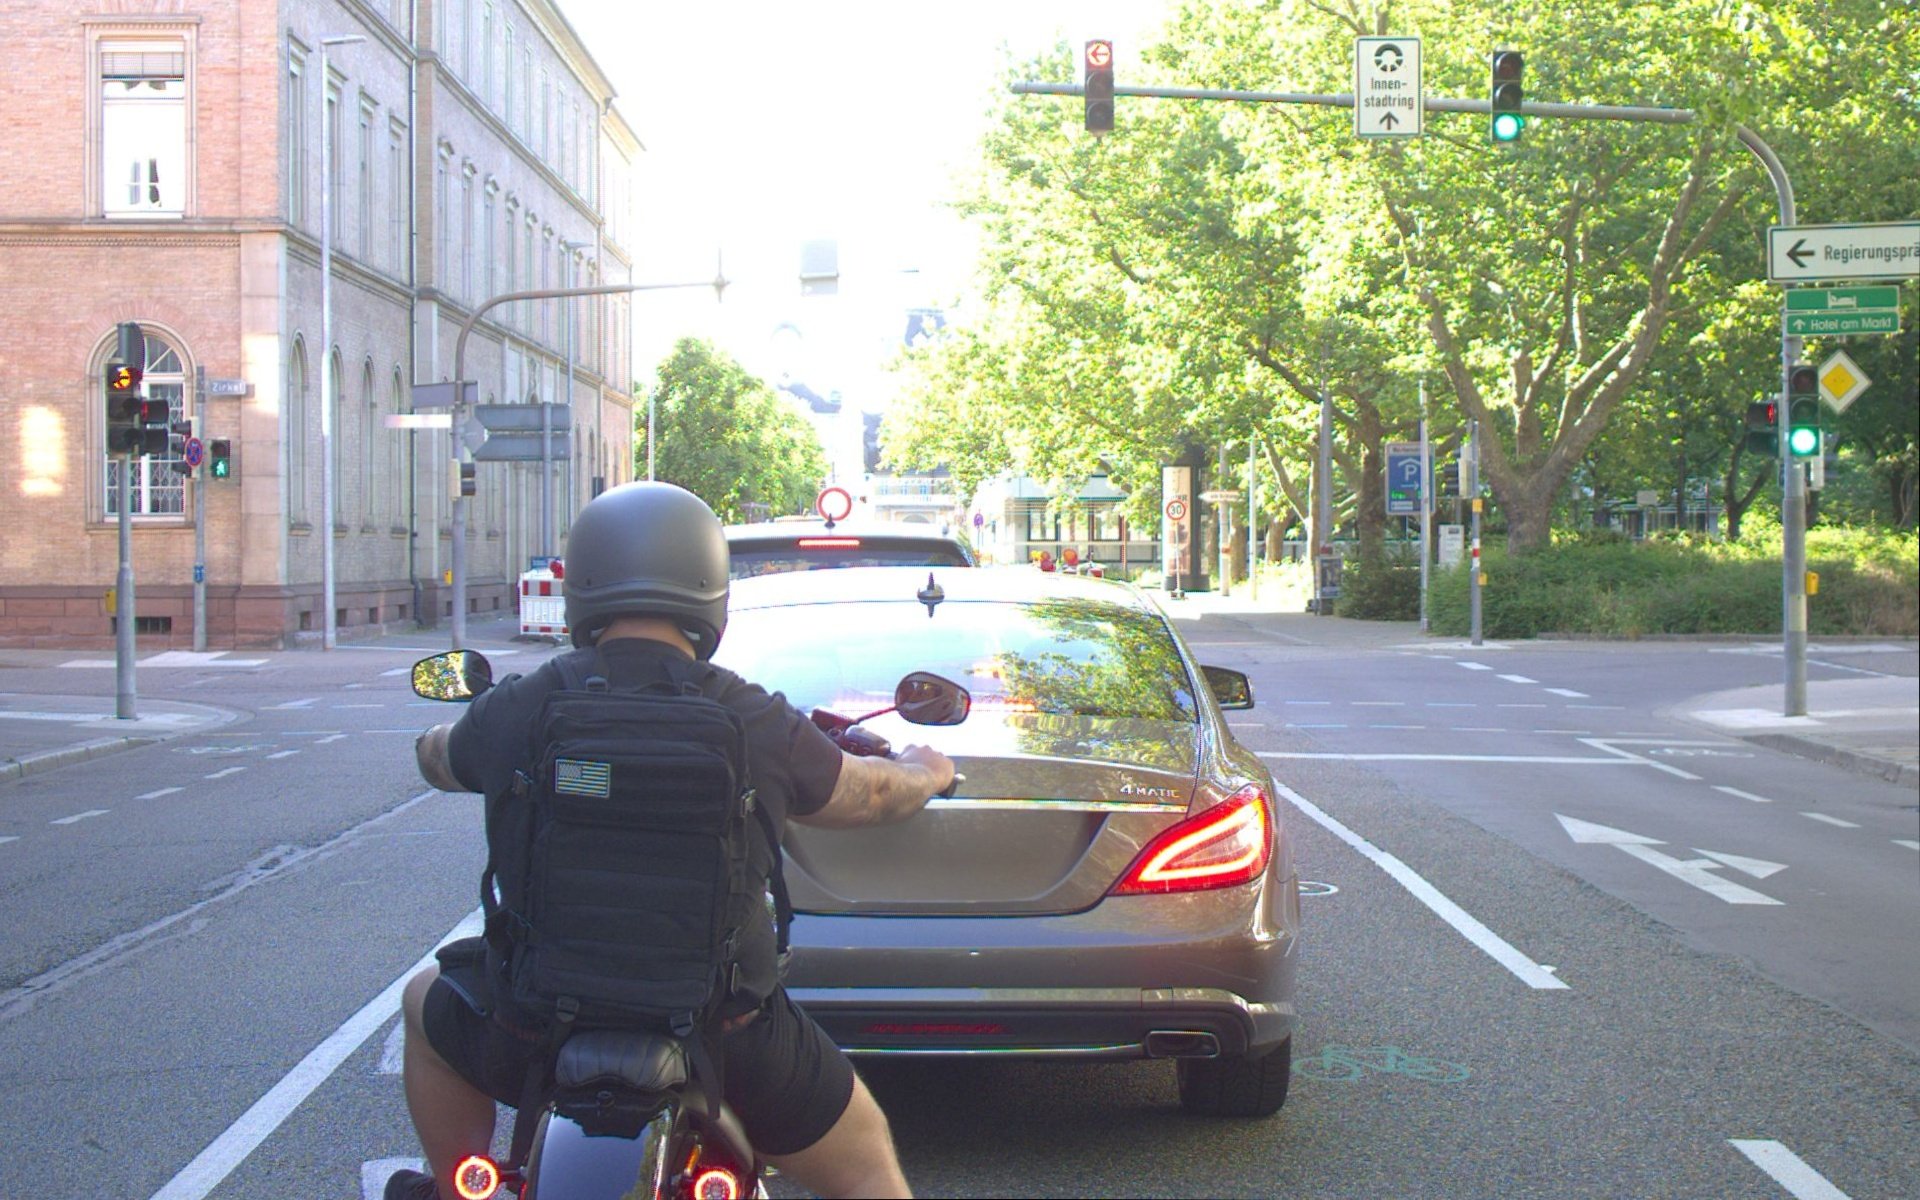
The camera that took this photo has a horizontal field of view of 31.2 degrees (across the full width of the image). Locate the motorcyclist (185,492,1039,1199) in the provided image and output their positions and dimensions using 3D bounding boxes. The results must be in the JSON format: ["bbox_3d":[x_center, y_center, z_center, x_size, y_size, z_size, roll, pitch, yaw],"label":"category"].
[{"bbox_3d":[-0.479,0.633,5.278,1.099,1.560,1.071,1,0,6],"label":"motorcyclist"}]

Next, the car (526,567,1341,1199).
[{"bbox_3d":[-0.081,0.638,9.666,1.822,1.432,3.806,1,1,-1],"label":"car"}]

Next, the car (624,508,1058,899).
[{"bbox_3d":[-0.540,0.431,16.943,1.863,1.672,4.000,1,1,-1],"label":"car"}]

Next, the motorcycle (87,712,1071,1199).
[{"bbox_3d":[-0.465,0.836,5.501,1.118,1.203,2.212,1,1,6],"label":"motorcycle"}]
